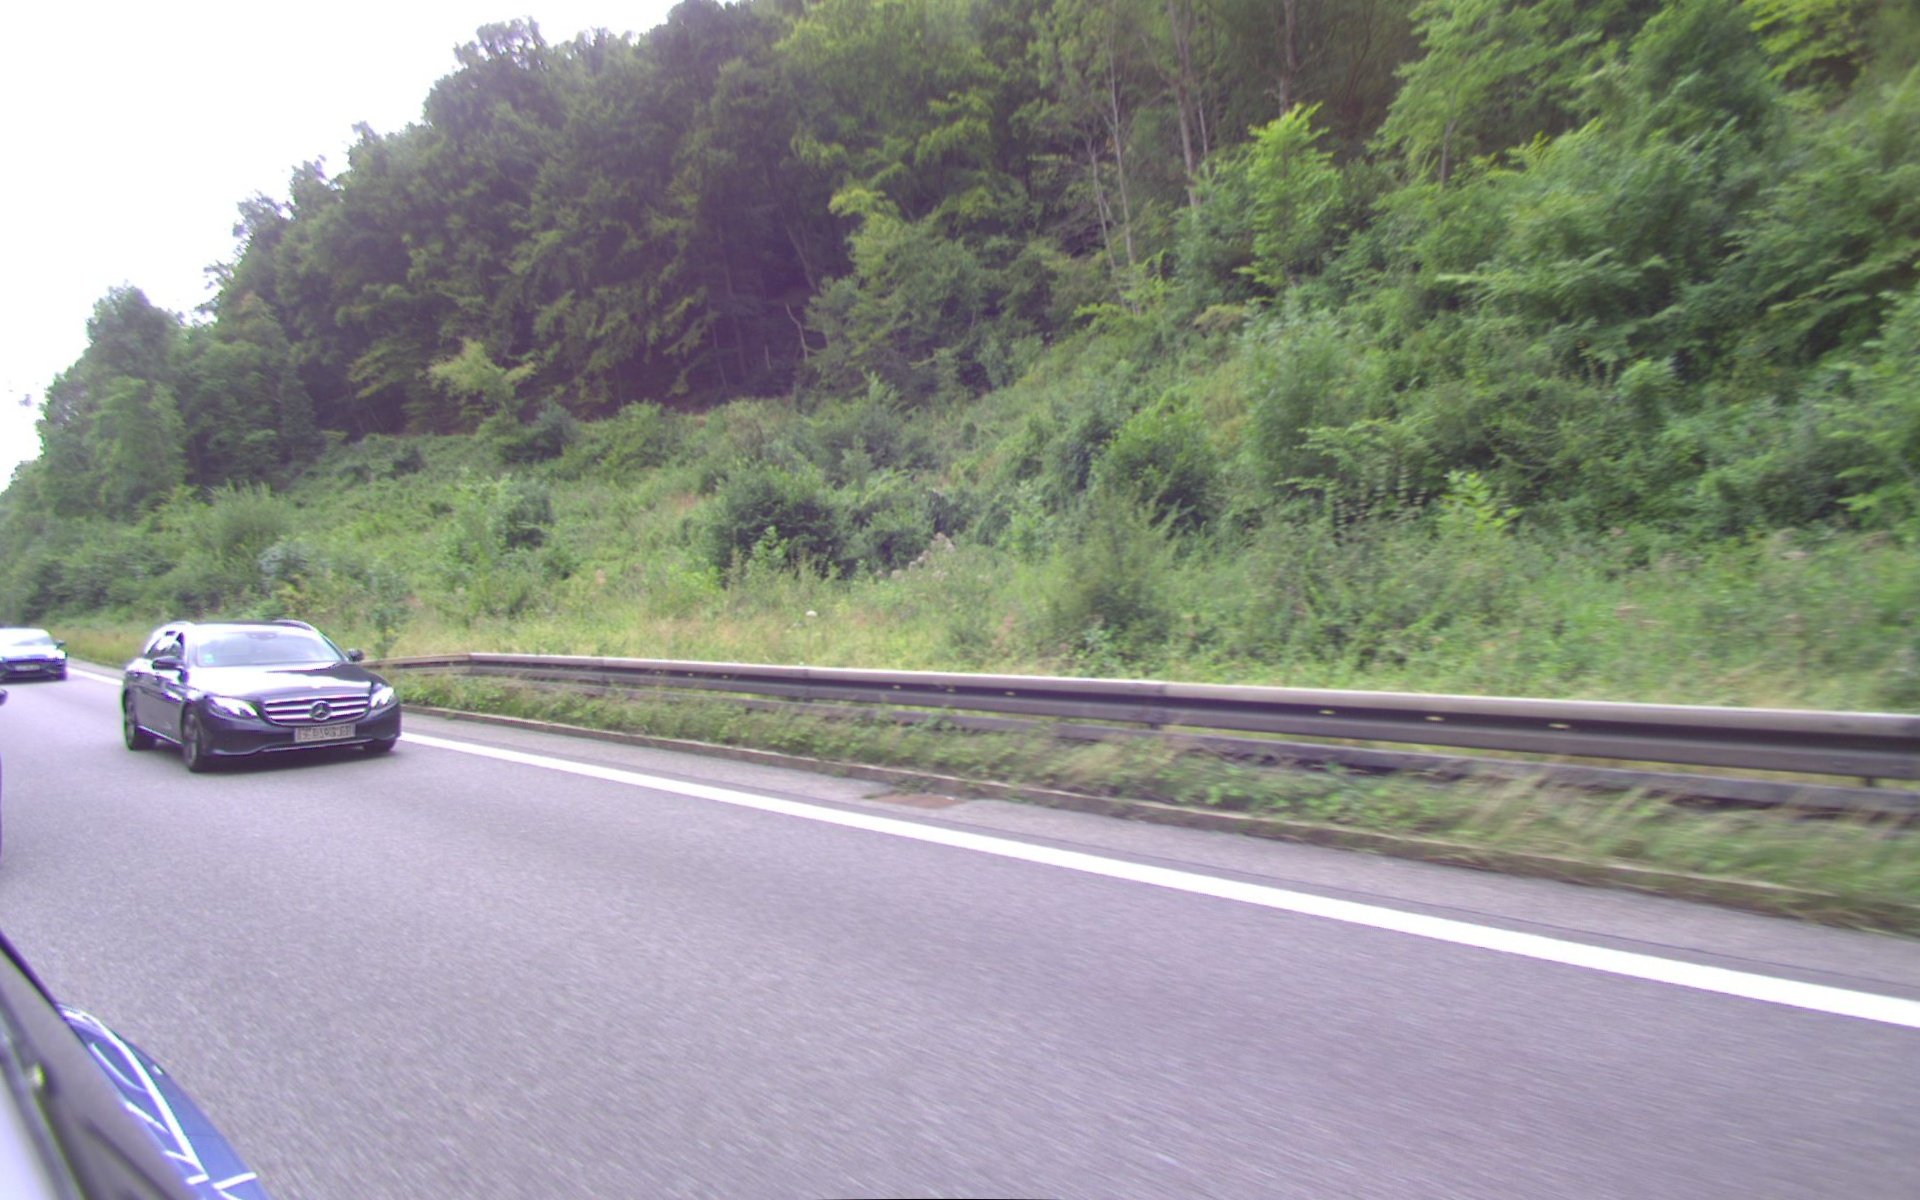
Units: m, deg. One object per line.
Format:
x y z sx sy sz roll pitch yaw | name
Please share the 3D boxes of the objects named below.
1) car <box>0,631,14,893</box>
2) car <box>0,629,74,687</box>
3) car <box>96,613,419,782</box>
-7.431 0.929 6.359 4.399 1.428 1.728 -1 0 41 | car
-26.415 1.573 28.263 4.551 1.480 1.817 -2 -1 40 | car
-8.083 0.961 11.415 5.119 1.474 1.743 -2 -1 41 | car
